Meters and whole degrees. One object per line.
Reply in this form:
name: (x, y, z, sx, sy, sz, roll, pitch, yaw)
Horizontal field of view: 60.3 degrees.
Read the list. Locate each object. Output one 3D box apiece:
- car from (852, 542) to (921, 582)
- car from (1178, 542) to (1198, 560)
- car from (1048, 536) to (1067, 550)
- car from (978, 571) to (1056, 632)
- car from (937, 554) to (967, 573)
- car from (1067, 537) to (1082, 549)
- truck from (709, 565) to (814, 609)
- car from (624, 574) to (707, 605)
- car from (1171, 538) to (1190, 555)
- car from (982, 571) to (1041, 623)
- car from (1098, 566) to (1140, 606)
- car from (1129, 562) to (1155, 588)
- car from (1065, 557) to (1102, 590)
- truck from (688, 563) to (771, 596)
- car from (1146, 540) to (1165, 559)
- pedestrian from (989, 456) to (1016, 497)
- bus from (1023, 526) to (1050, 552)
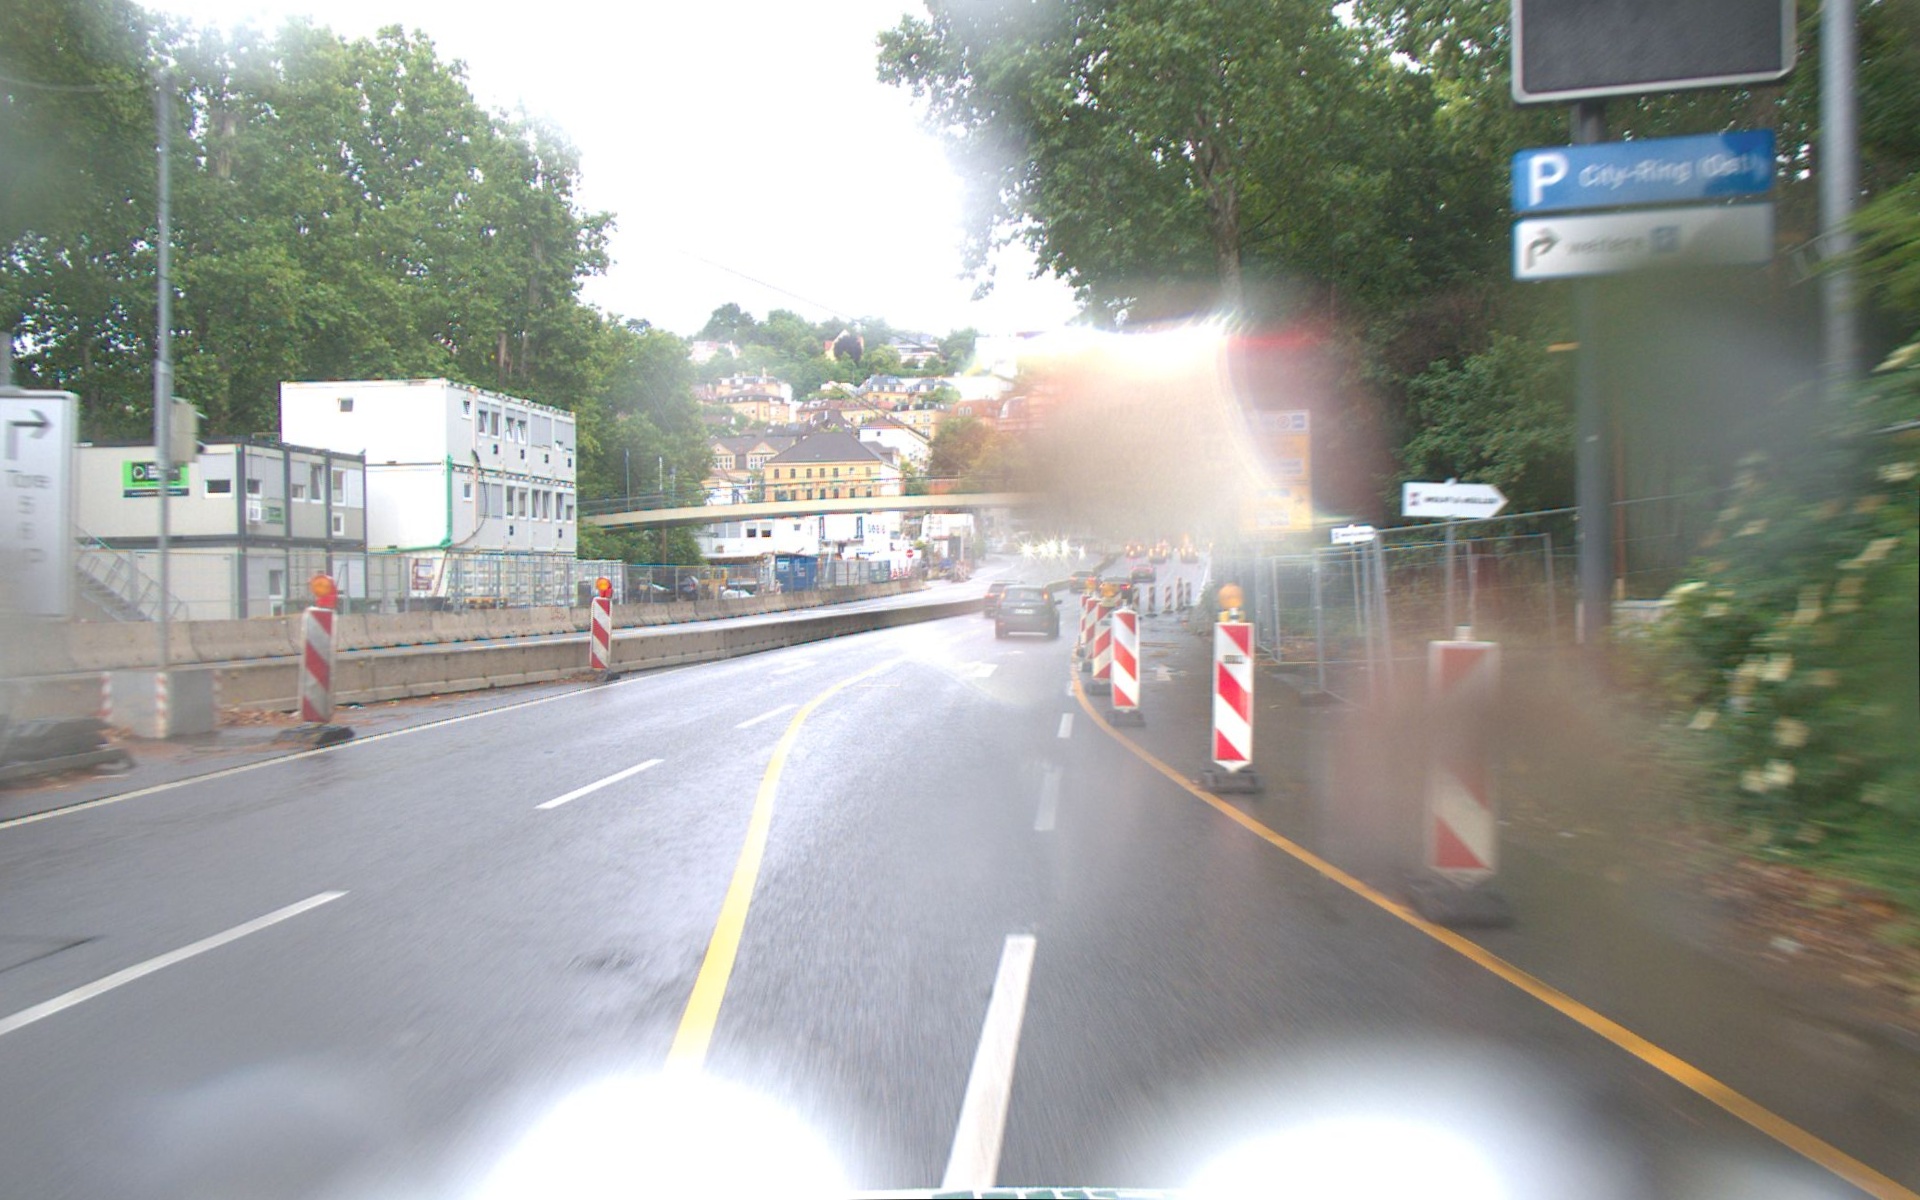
car: (-5.509, -2.883, 125.399, 1.959, 2.925, 6.033, -1, 0, 34)
car: (24.622, -5.309, 178.826, 1.951, 1.728, 4.003, -2, 0, 6)
car: (12.640, -7.372, 214.010, 2.037, 1.659, 4.857, -1, 2, 7)
car: (1.545, 0.027, 45.770, 1.776, 1.553, 3.998, -2, 0, -3)
car: (-0.733, -3.466, 156.490, 1.951, 1.649, 4.005, -1, 3, 12)
car: (15.974, -7.938, 230.749, 1.672, 1.515, 3.454, -2, 0, 9)
truck: (-12.336, -0.810, 103.037, 6.147, 2.495, 2.694, -2, 0, 1)
car: (-16.631, -0.606, 93.562, 4.333, 1.656, 1.959, -2, 1, -1)
car: (24.695, -5.963, 185.218, 1.951, 1.728, 4.003, -2, 0, 6)
car: (2.159, -0.140, 68.549, 1.974, 2.049, 4.003, -2, 0, 8)
car: (8.695, -0.748, 90.289, 2.060, 2.086, 4.003, -2, 0, 8)
car: (14.581, -1.979, 132.533, 2.008, 2.049, 4.003, -2, 0, 7)
car: (8.034, -1.727, 107.230, 1.951, 2.049, 4.004, -2, 0, 10)
truck: (-15.519, -1.392, 111.350, 5.137, 2.048, 2.165, -2, 1, 4)
car: (20.827, -5.392, 175.930, 1.951, 1.902, 4.003, -2, 0, 6)
pedestrian: (2.280, -6.603, 88.460, 1.123, 2.096, 1.060, -2, 0, 16)
bus: (10.352, -8.167, 222.663, 2.746, 3.240, 8.816, -1, 1, 8)
